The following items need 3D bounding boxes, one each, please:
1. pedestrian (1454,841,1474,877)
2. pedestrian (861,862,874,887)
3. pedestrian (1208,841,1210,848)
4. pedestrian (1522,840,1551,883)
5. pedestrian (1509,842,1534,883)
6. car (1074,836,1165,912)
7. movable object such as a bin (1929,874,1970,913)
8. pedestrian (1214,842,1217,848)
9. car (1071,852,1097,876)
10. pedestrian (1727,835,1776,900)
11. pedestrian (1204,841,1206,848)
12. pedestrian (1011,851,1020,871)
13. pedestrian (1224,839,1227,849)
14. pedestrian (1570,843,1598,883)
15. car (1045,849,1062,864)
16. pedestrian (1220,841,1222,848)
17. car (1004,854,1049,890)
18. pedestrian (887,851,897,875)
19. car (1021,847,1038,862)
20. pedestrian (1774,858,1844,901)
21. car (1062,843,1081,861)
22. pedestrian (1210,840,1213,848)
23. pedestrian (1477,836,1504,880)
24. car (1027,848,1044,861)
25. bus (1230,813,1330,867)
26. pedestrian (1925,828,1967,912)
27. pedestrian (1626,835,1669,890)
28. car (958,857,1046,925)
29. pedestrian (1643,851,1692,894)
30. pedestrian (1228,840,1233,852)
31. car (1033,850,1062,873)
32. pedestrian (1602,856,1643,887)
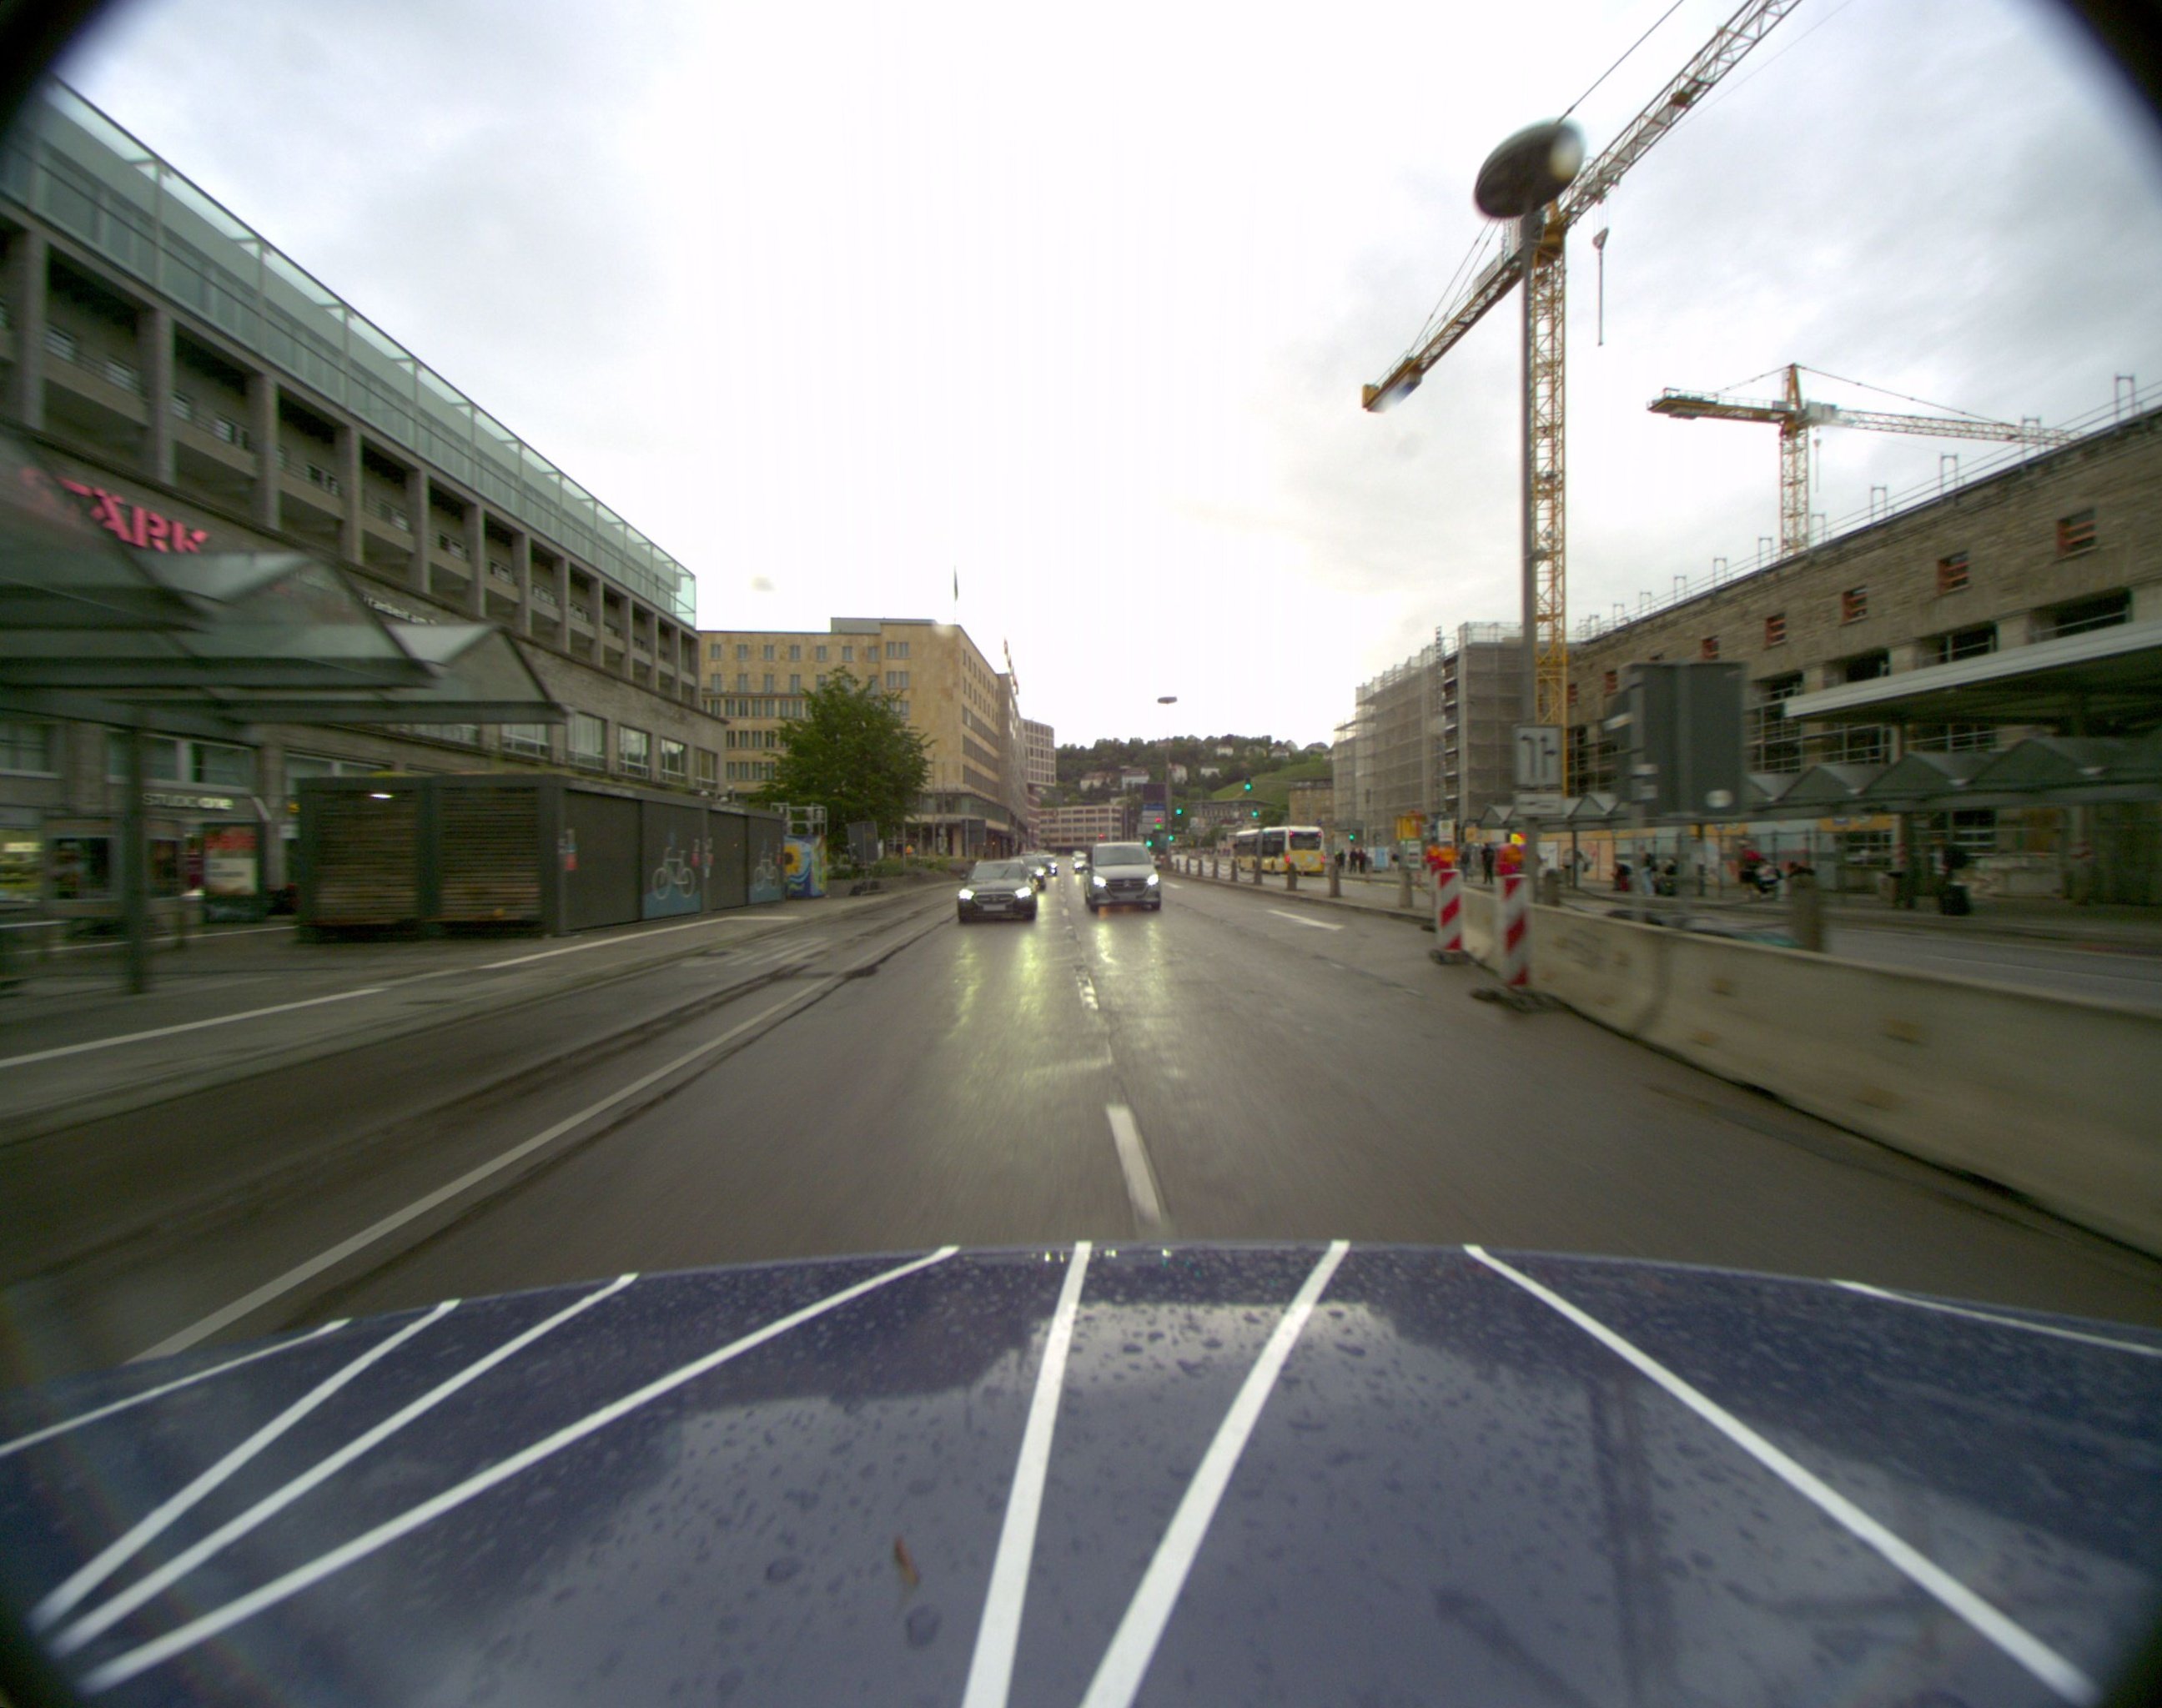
[{"bbox_3d":[19.212,0.229,38.127,0.700,1.780,0.794,-1,1,10],"label":"pedestrian"},{"bbox_3d":[-15.035,1.448,53.500,0.699,1.741,0.837,-1,1,-4],"label":"pedestrian"},{"bbox_3d":[28.630,-2.152,169.883,0.438,1.492,0.413,-1,1,13],"label":"pedestrian"},{"bbox_3d":[19.124,0.311,31.897,0.726,1.780,0.747,-2,1,-8],"label":"pedestrian"},{"bbox_3d":[19.385,0.359,33.450,0.557,1.780,0.804,-2,1,-10],"label":"pedestrian"},{"bbox_3d":[0.983,0.493,22.369,1.999,1.893,5.248,-3,1,-4],"label":"car"},{"bbox_3d":[19.040,0.856,16.662,0.510,0.785,0.635,1,2,43],"label":"movable object such as a bin"},{"bbox_3d":[27.306,-1.857,154.221,0.438,1.233,0.413,-1,1,2],"label":"pedestrian"},{"bbox_3d":[0.188,0.780,61.606,1.872,1.747,3.900,-2,1,-2],"label":"car"},{"bbox_3d":[18.931,0.370,21.455,0.672,1.780,0.782,-2,1,-9],"label":"pedestrian"},{"bbox_3d":[27.061,-2.091,165.508,0.438,1.606,0.413,-1,1,0],"label":"pedestrian"},{"bbox_3d":[-6.409,0.683,74.359,0.674,1.908,0.792,-1,1,-1],"label":"pedestrian"},{"bbox_3d":[24.703,-1.740,129.813,0.438,1.606,0.413,-1,1,-1],"label":"pedestrian"},{"bbox_3d":[20.906,0.370,31.575,0.557,1.621,0.804,-2,1,-10],"label":"pedestrian"},{"bbox_3d":[-3.066,0.278,86.495,1.763,1.582,3.841,-2,1,-1],"label":"car"},{"bbox_3d":[26.815,-1.837,145.530,0.438,1.344,0.413,-1,1,8],"label":"pedestrian"},{"bbox_3d":[-2.488,0.798,35.574,1.877,1.499,4.163,-1,1,-1],"label":"car"},{"bbox_3d":[-14.100,0.673,56.758,0.536,1.780,0.681,-1,1,2],"label":"pedestrian"},{"bbox_3d":[-6.649,0.010,98.410,1.999,1.874,4.995,-1,1,-1],"label":"car"},{"bbox_3d":[20.666,0.704,21.589,0.952,1.151,1.054,-1,1,-2],"label":"pedestrian"},{"bbox_3d":[-0.997,-0.229,77.862,1.872,1.715,3.900,-2,1,-2],"label":"car"},{"bbox_3d":[26.473,-1.945,154.253,0.375,1.606,0.357,-1,1,-1],"label":"pedestrian"},{"bbox_3d":[18.714,0.180,34.734,0.761,1.947,0.822,-2,1,-5],"label":"pedestrian"},{"bbox_3d":[-6.214,0.034,104.129,1.999,1.644,5.133,-1,1,-1],"label":"car"},{"bbox_3d":[14.929,-1.046,59.438,2.917,3.557,19.074,0,1,0],"label":"bus"},{"bbox_3d":[19.489,0.346,17.123,0.556,1.837,0.679,0,2,43],"label":"pedestrian"},{"bbox_3d":[18.511,0.270,24.840,0.777,1.780,0.860,-1,1,5],"label":"pedestrian"},{"bbox_3d":[-1.950,0.870,20.049,1.823,1.455,4.699,-2,1,-1],"label":"car"},{"bbox_3d":[20.343,0.638,26.354,1.058,1.424,0.830,-1,1,-3],"label":"pedestrian"},{"bbox_3d":[25.738,-1.427,130.988,0.593,2.022,0.686,-1,1,-1],"label":"pedestrian"},{"bbox_3d":[-2.463,0.539,56.983,1.999,1.549,3.907,-1,1,-1],"label":"car"},{"bbox_3d":[20.196,0.639,28.367,0.846,1.087,0.925,-1,1,-3],"label":"pedestrian"}]
